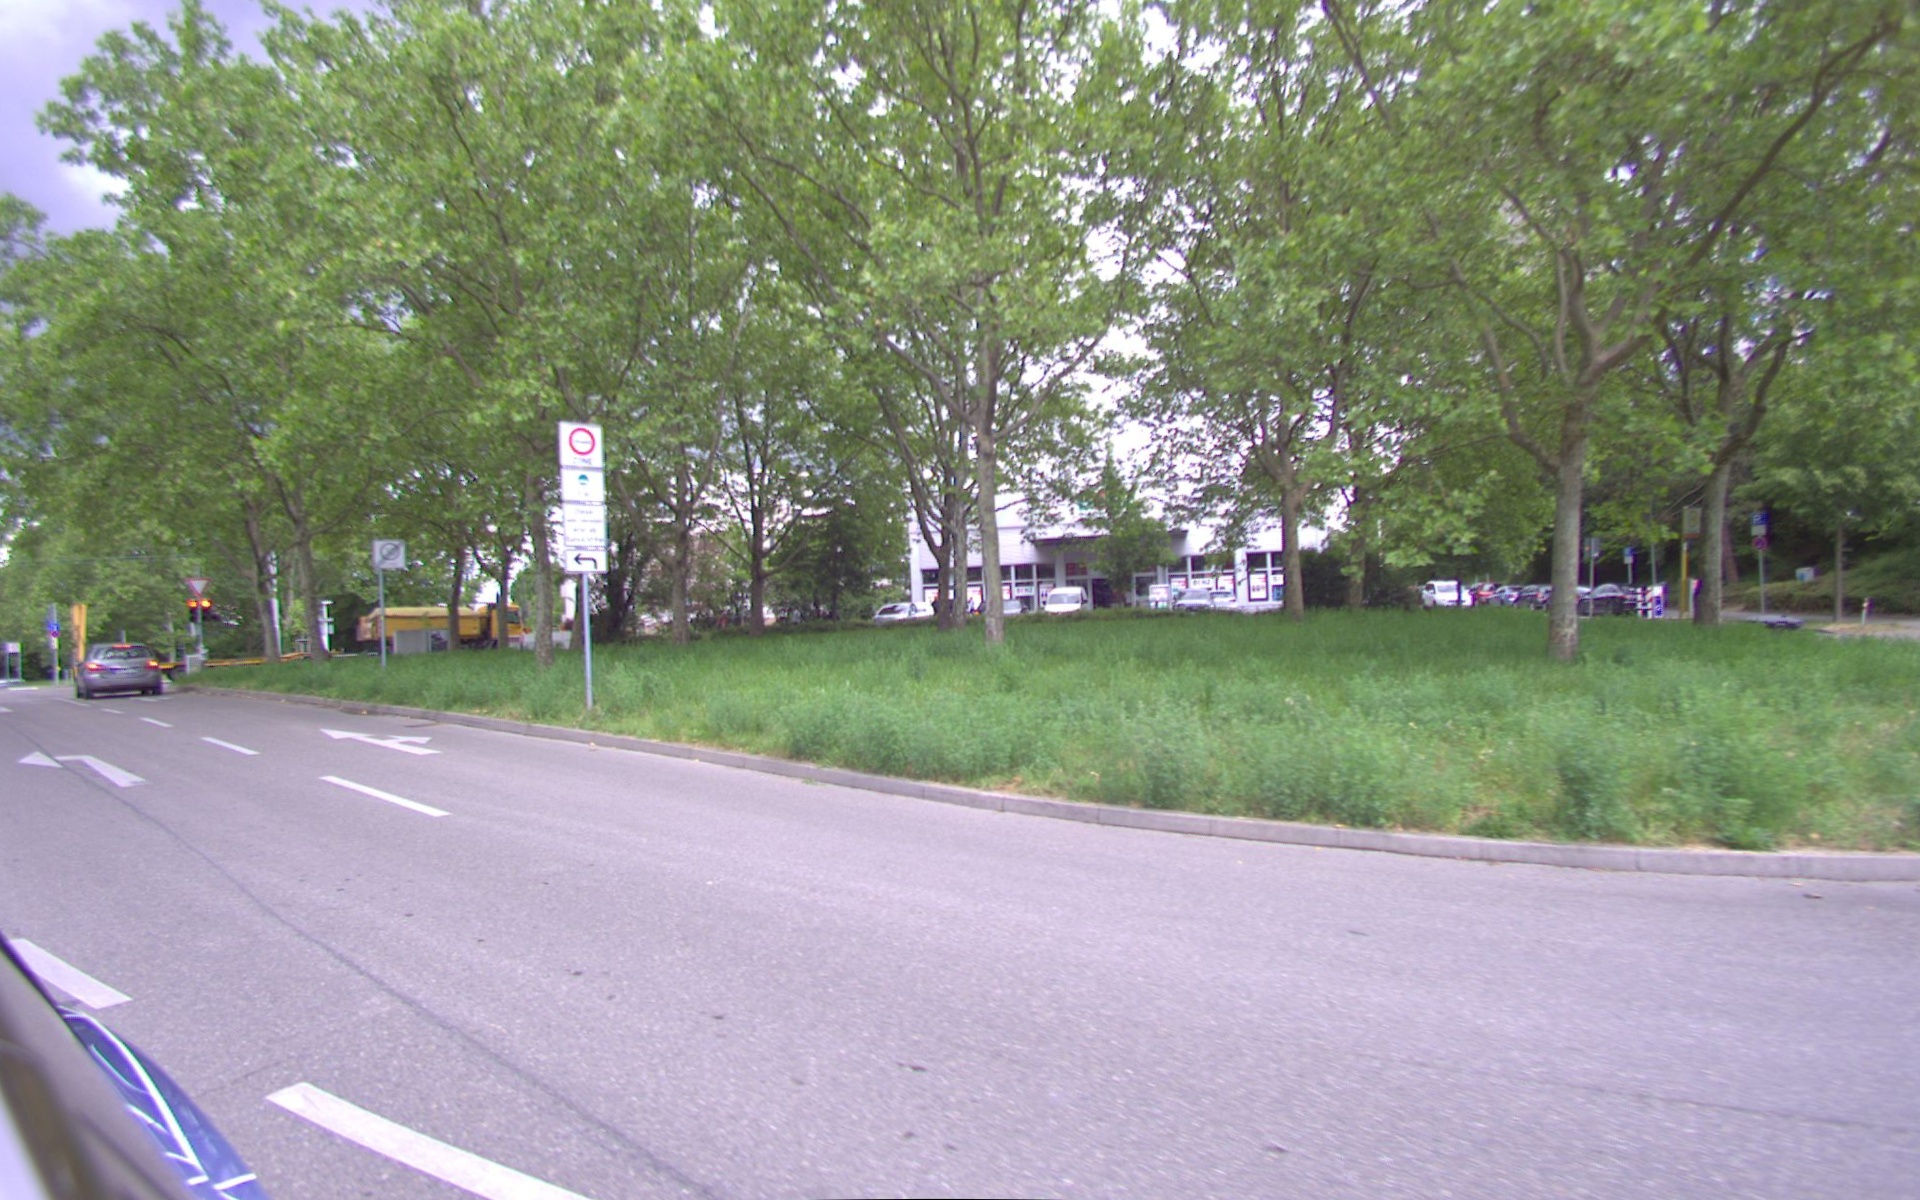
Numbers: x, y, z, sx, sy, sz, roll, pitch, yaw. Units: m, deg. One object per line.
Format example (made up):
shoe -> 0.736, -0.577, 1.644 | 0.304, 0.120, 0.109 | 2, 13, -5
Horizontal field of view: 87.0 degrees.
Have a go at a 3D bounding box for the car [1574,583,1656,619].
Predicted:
car -> 28.722, 0.026, 44.492 | 1.763, 1.497, 3.662 | -1, 0, 11

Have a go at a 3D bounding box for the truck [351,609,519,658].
truck -> -26.837, 1.632, 52.016 | 7.413, 2.230, 2.083 | -1, 0, -45

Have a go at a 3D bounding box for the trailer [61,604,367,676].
trailer -> -33.213, 1.644, 45.683 | 10.925, 2.827, 2.083 | -1, 0, -45

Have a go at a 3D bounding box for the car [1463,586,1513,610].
car -> 33.347, -0.127, 63.994 | 1.763, 1.497, 3.662 | -1, 0, 11

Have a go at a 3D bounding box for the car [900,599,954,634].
car -> -1.461, 0.726, 46.410 | 1.637, 1.475, 3.986 | -1, 0, 11

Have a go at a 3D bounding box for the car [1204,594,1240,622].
car -> 14.149, 0.406, 54.769 | 1.637, 1.475, 3.986 | -1, 0, 11

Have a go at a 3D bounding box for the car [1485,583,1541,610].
car -> 32.234, -0.189, 59.087 | 1.763, 1.497, 3.662 | -1, 0, 11

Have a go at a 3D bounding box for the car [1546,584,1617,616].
car -> 30.355, -0.020, 49.520 | 1.763, 1.497, 3.662 | -1, 0, 11

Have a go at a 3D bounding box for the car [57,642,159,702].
car -> -25.302, 2.088, 30.019 | 3.998, 1.527, 1.736 | -1, 0, 41

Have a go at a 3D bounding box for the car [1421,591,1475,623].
car -> 27.837, 0.392, 57.836 | 1.763, 1.785, 3.986 | -1, 0, 11

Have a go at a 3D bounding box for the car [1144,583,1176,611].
car -> 11.087, -0.152, 56.120 | 1.637, 1.475, 3.986 | -1, 0, 11

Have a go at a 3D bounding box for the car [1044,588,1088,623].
car -> 4.848, 0.234, 45.826 | 1.637, 1.475, 3.986 | -1, 0, 11

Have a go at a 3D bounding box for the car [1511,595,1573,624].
car -> 31.262, 0.504, 54.462 | 1.763, 1.497, 3.662 | -1, 0, 11
